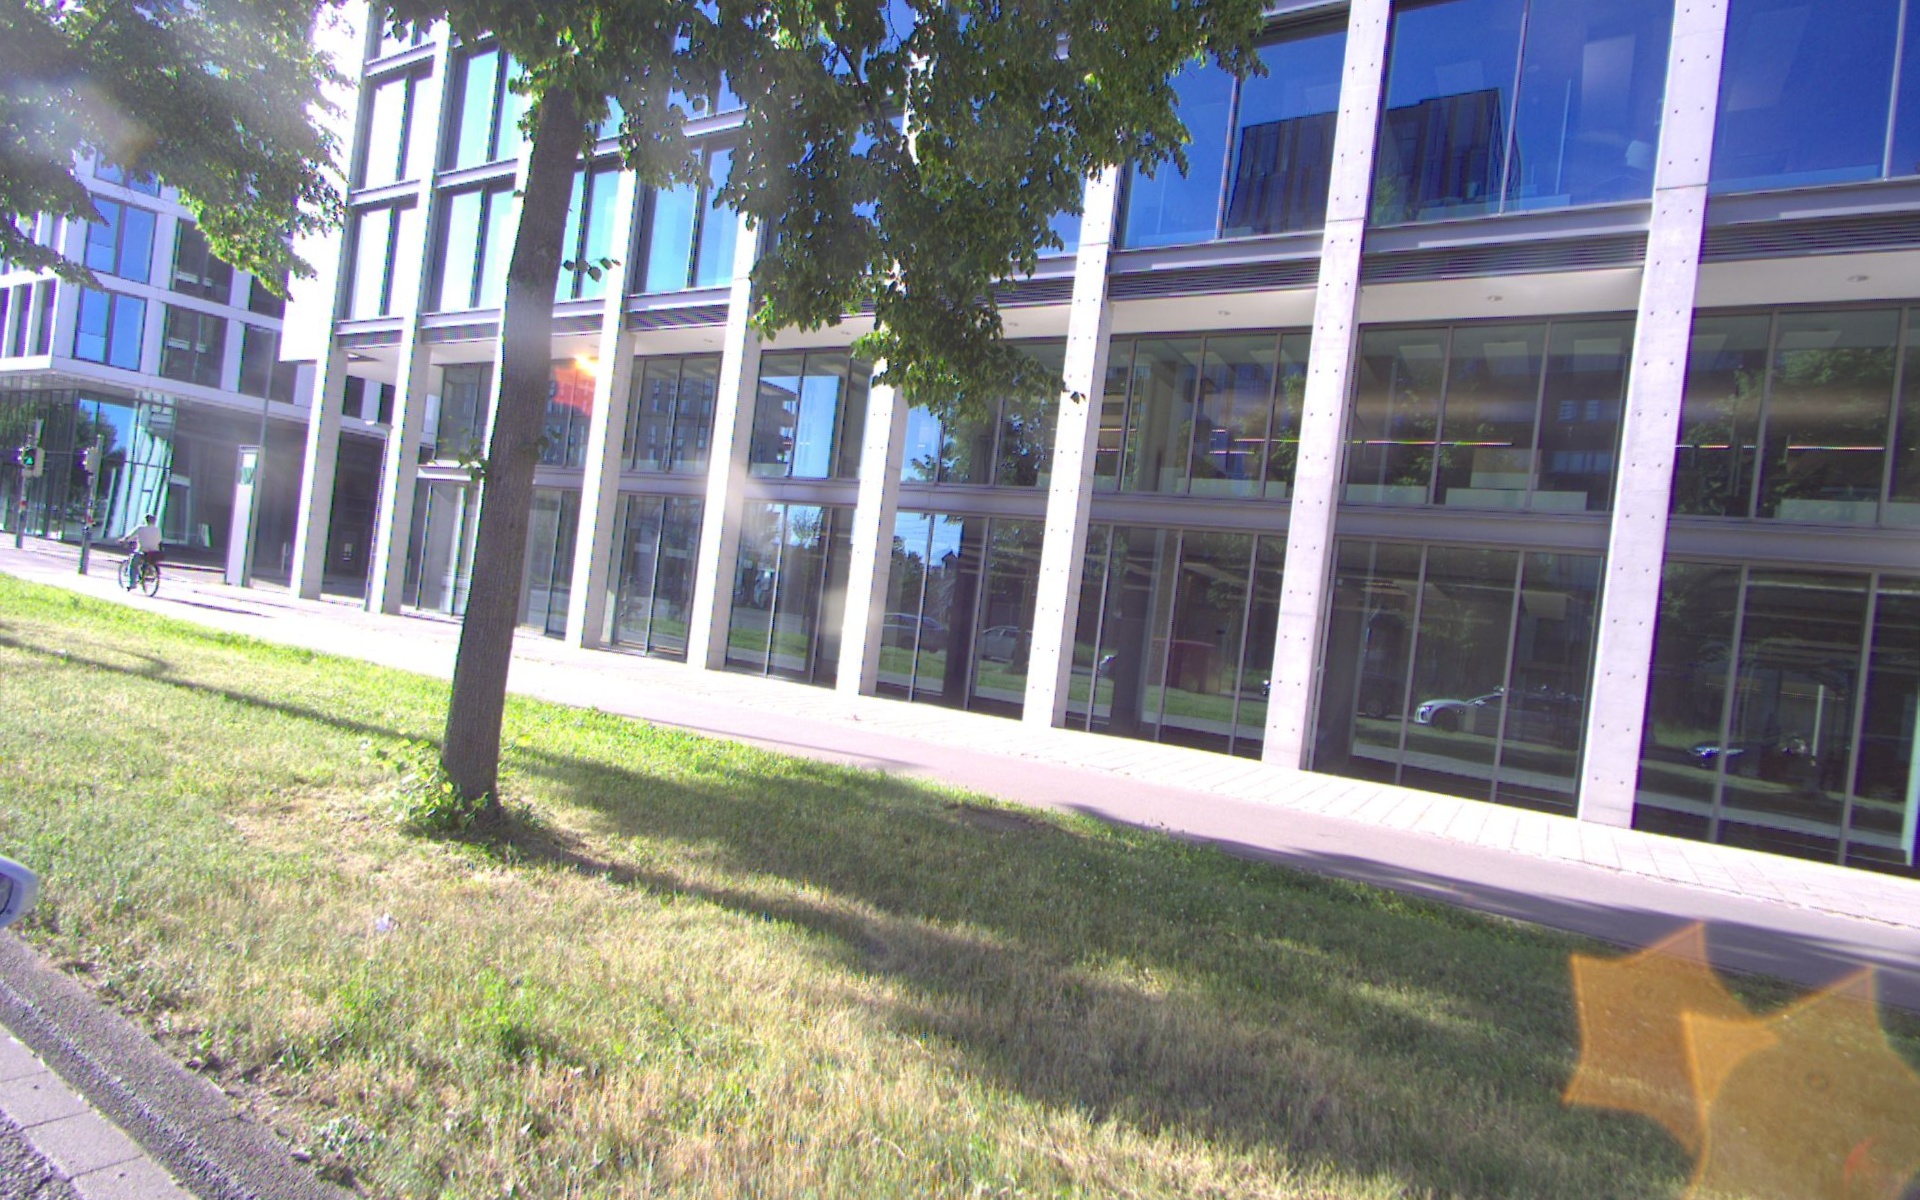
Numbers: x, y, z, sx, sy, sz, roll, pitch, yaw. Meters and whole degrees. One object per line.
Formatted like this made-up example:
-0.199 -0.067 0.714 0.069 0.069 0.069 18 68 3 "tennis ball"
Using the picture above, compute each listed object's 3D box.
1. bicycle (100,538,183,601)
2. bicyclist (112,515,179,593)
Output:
-17.725 -0.669 21.767 1.929 1.189 0.742 5 1 32 "bicycle"
-17.569 -0.995 21.709 0.835 1.550 0.772 7 0 32 "bicyclist"
